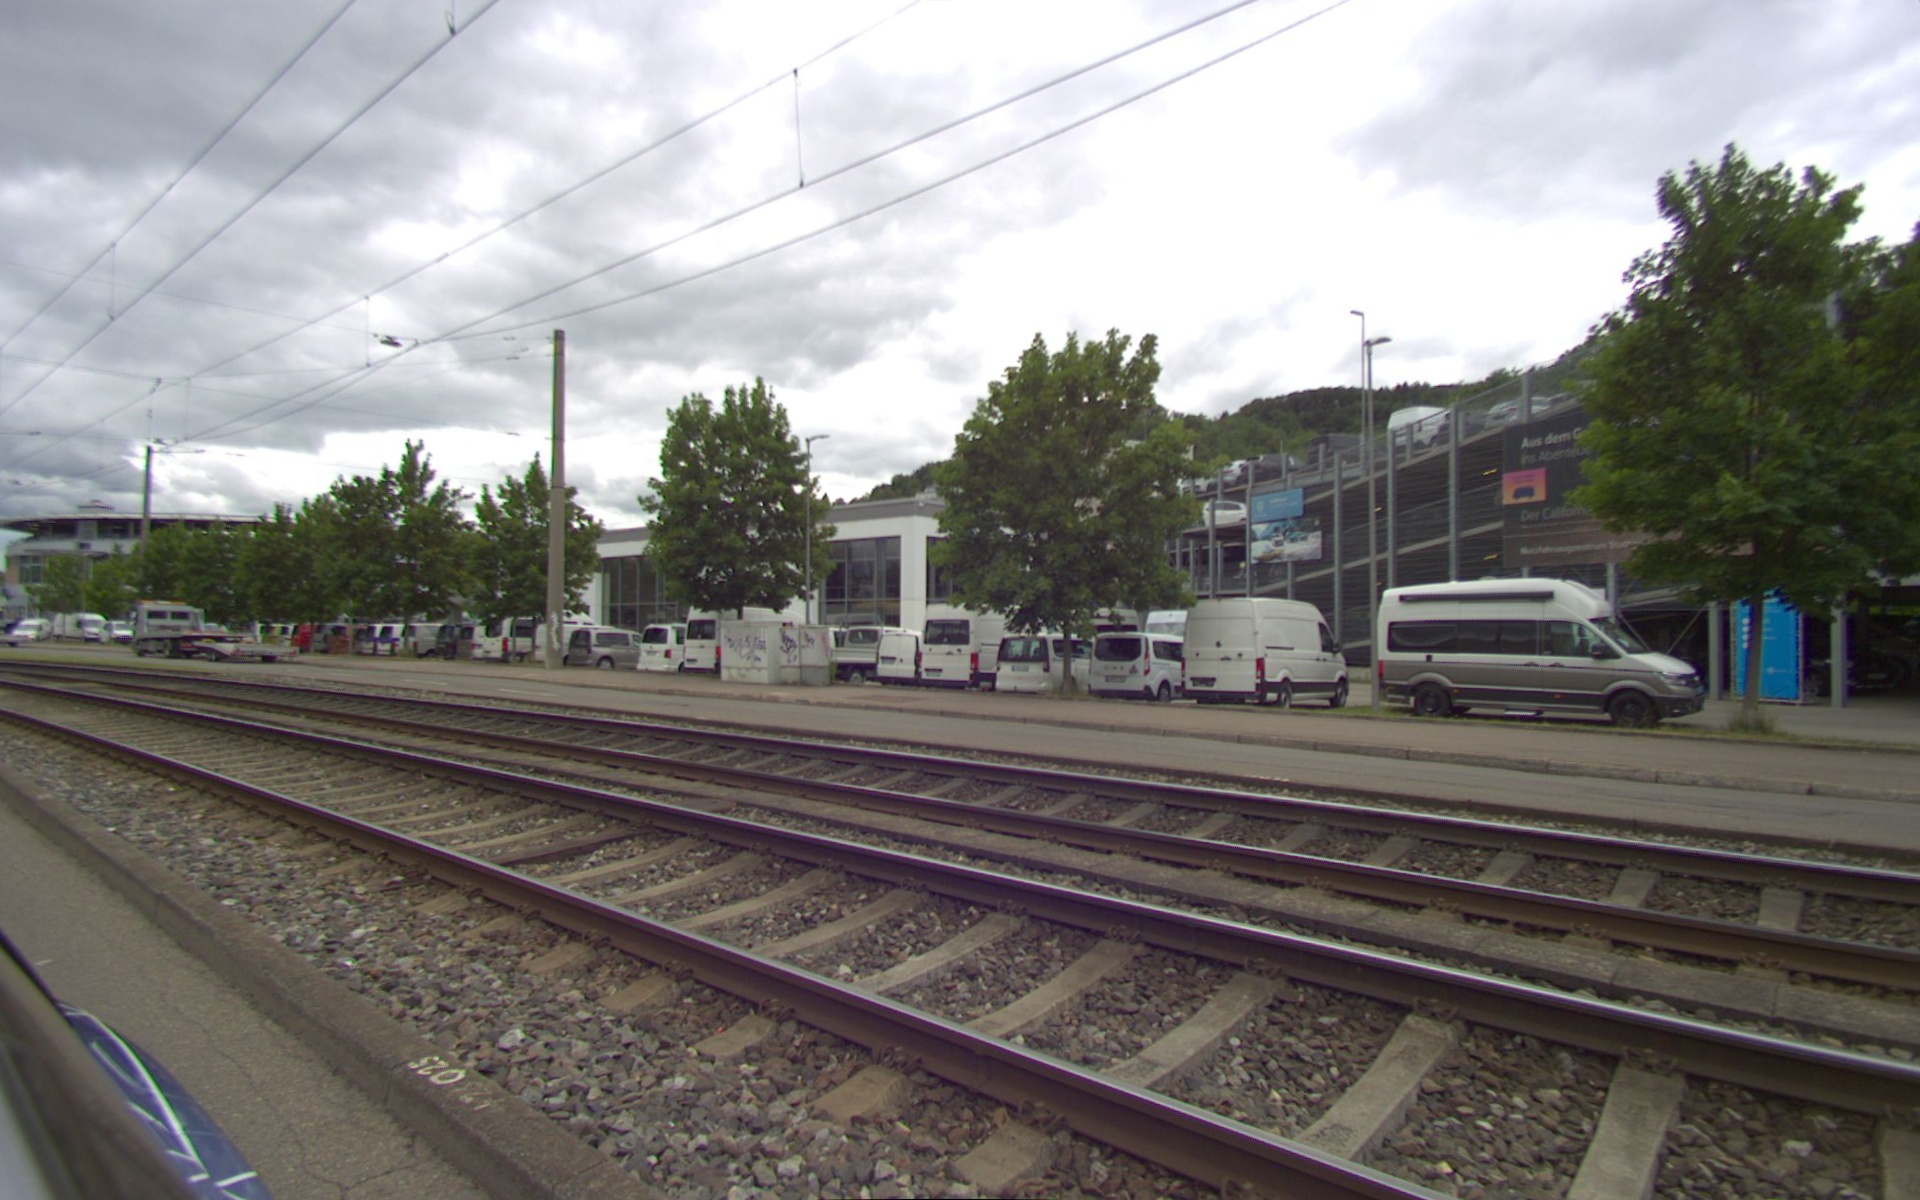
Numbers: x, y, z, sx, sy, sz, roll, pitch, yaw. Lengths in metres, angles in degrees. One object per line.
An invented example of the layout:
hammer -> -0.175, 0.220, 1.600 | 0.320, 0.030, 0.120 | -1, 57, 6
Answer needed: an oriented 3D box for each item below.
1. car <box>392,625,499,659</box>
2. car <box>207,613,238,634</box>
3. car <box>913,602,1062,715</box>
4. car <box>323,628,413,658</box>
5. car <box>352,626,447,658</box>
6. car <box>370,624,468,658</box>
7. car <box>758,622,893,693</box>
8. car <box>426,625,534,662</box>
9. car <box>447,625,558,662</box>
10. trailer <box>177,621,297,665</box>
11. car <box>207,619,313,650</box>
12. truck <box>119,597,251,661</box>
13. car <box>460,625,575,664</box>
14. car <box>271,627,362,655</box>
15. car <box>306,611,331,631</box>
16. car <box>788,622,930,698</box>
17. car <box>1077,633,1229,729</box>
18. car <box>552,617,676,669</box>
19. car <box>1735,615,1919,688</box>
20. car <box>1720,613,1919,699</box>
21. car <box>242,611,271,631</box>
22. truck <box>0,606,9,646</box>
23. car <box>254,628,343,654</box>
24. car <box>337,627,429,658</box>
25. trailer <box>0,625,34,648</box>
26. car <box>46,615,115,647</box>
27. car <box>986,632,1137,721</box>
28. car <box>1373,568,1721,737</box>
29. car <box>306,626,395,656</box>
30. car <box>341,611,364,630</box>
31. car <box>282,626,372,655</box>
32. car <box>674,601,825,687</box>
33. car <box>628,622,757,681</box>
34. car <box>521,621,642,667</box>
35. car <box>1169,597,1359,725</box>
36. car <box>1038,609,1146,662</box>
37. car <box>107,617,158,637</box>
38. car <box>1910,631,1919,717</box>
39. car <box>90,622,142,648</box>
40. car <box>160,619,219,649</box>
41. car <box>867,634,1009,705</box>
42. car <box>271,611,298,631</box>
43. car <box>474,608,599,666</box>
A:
car -> -25.474, 2.065, 50.189 | 2.003, 1.630, 4.320 | -1, -2, 41
car -> -73.206, 2.343, 100.547 | 1.965, 2.029, 4.012 | 1, -2, -29
car -> 0.835, 1.543, 27.861 | 2.001, 2.840, 4.325 | -1, -2, 37
car -> -33.052, 2.379, 56.564 | 2.000, 1.630, 3.944 | -2, -2, 42
car -> -29.730, 2.226, 53.743 | 2.000, 1.630, 3.944 | -2, -2, 42
car -> -27.527, 2.063, 51.547 | 2.000, 1.630, 3.944 | -2, -2, 42
car -> -4.364, 1.829, 33.453 | 2.001, 2.189, 4.325 | -1, -2, 37
car -> -23.313, 2.081, 49.278 | 2.003, 1.699, 4.319 | -2, -2, 42
car -> -21.441, 2.019, 47.521 | 2.003, 1.630, 4.319 | -2, -2, 42
trailer -> -31.061, 1.826, 43.365 | 6.940, 1.711, 2.359 | -1, -4, 39
car -> -46.416, 2.314, 67.262 | 5.617, 2.023, 2.150 | 2, -3, -31
truck -> -37.242, 1.417, 48.476 | 9.207, 2.763, 2.729 | -1, -4, 39
car -> -19.976, 1.979, 45.857 | 2.028, 1.701, 4.324 | -1, -2, 37
car -> -39.550, 2.482, 62.229 | 2.120, 1.630, 4.298 | -2, -2, 42
car -> -66.263, 2.207, 104.565 | 1.966, 2.029, 4.012 | 1, -2, -29
car -> -3.048, 1.784, 31.288 | 2.001, 2.189, 4.325 | -1, -2, 37
car -> 4.857, 1.896, 25.039 | 2.001, 2.121, 4.325 | -1, -2, 37
car -> -13.981, 1.717, 41.085 | 2.003, 1.962, 4.319 | -2, -2, 42
car -> 24.487, 1.398, 28.293 | 4.458, 1.918, 1.974 | -1, -2, 38
car -> 20.948, 1.317, 24.631 | 1.974, 1.918, 3.995 | 0, -2, 3
car -> -71.500, 2.169, 102.917 | 1.966, 2.029, 4.012 | 1, -2, -29
truck -> -75.563, 1.942, 77.083 | 8.435, 3.004, 2.838 | -1, -4, 35
car -> -41.907, 2.578, 64.172 | 2.154, 1.630, 4.289 | -2, -2, 42
car -> -31.499, 2.277, 55.321 | 2.000, 1.630, 3.944 | -2, -2, 42
trailer -> -69.193, 2.602, 72.414 | 7.208, 1.507, 2.734 | -1, -5, 35
car -> -73.155, 2.606, 84.200 | 5.825, 2.580, 1.984 | -1, -2, 23
car -> 2.740, 1.897, 26.477 | 2.001, 2.121, 4.325 | -1, -2, 37
car -> 11.981, 1.029, 21.054 | 5.937, 3.042, 2.084 | -2, -3, 43
car -> -35.127, 2.349, 58.377 | 2.047, 1.677, 3.944 | -2, -2, 42
car -> -64.166, 2.170, 106.953 | 1.966, 2.029, 4.012 | 1, -2, -29
car -> -37.455, 2.363, 59.964 | 2.062, 1.630, 4.133 | -2, -2, 42
car -> -7.100, 1.485, 34.655 | 2.112, 2.719, 4.919 | -1, -2, 37
car -> -9.837, 1.866, 37.544 | 2.001, 2.026, 4.325 | -1, -2, 37
car -> -15.852, 1.818, 42.556 | 2.003, 1.859, 4.319 | -2, -2, 42
car -> 7.226, 1.341, 23.631 | 2.245, 2.622, 5.416 | -1, -2, 41
car -> 5.444, 1.442, 41.373 | 2.000, 2.029, 4.790 | -1, -3, 43
car -> -86.191, 2.836, 105.446 | 1.972, 2.029, 3.998 | 0, -2, 1
car -> 20.215, 1.383, 18.419 | 4.072, 1.630, 2.002 | 0, -2, -5
car -> -67.592, 2.796, 81.062 | 4.795, 2.029, 1.977 | -1, -2, 35
car -> -54.126, 2.350, 71.041 | 4.851, 2.029, 1.976 | -1, -2, 36
car -> -0.585, 1.987, 30.148 | 2.001, 1.925, 4.325 | -1, -2, 37
car -> -69.947, 2.144, 104.839 | 1.966, 2.029, 4.012 | 1, -2, -29
car -> -18.123, 1.565, 43.428 | 2.125, 2.329, 4.448 | -2, -2, 42
